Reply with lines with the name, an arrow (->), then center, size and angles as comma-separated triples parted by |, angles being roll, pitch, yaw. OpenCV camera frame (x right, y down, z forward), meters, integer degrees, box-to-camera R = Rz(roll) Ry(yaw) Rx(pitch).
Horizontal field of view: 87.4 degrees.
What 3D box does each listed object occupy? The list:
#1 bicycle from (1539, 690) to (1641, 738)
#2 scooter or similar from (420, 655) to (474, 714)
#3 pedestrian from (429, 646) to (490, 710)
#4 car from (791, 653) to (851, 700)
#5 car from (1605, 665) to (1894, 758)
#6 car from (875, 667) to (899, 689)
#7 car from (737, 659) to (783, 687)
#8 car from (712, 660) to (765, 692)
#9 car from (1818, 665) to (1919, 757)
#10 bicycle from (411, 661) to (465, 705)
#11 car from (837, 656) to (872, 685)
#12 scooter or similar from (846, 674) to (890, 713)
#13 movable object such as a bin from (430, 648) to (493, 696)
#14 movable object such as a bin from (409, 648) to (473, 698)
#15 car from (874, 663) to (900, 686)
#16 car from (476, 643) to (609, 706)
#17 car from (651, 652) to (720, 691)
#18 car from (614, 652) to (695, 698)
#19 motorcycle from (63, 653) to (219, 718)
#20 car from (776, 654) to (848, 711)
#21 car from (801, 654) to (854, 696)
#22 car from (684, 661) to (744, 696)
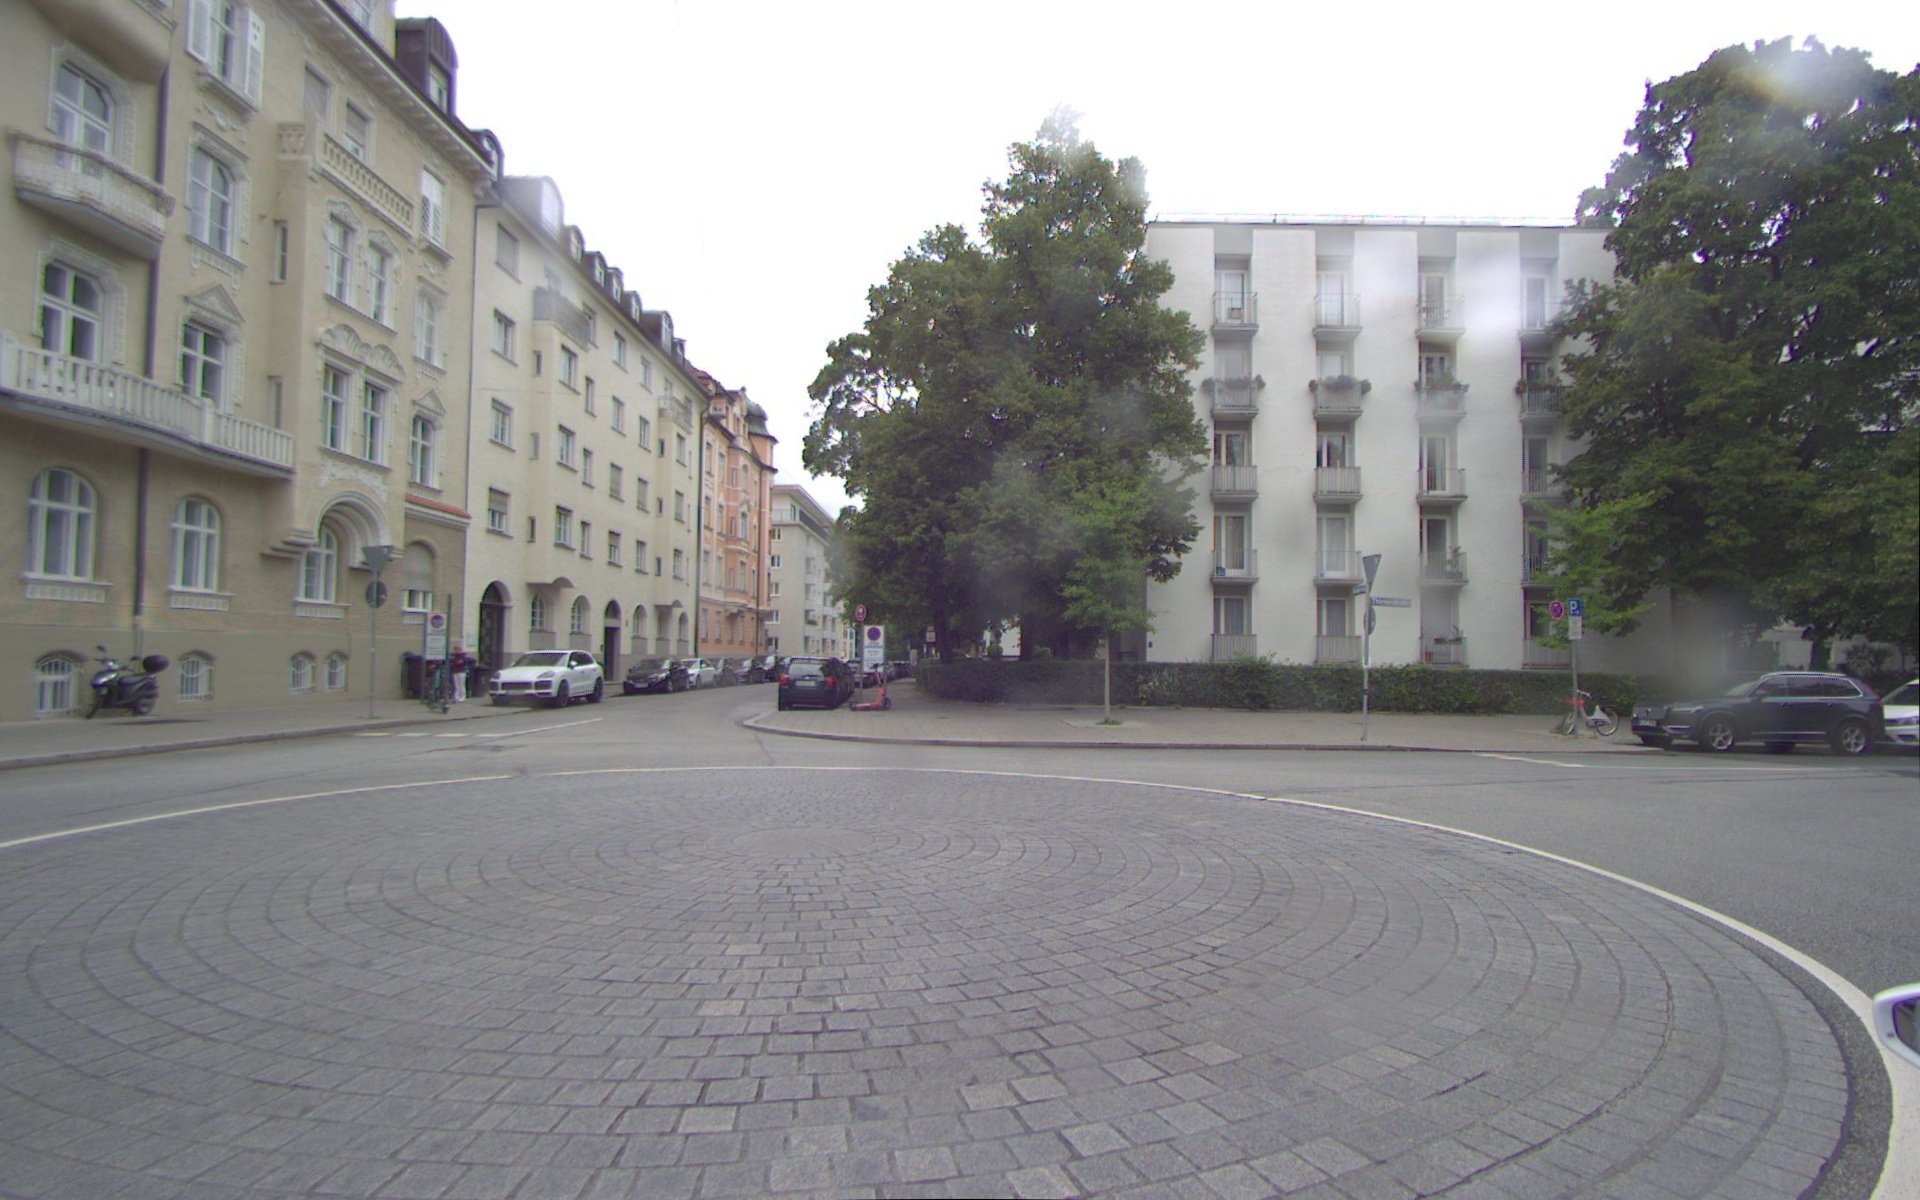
bicycle -> 15.257, 2.756, 24.353 | 1.933, 1.065, 0.914 | 2, -3, -3
scooter or similar -> -12.851, 2.094, 25.149 | 1.336, 1.413, 0.705 | -2, -4, 41
pedestrian -> -14.990, 2.327, 30.103 | 1.110, 1.828, 1.272 | 1, -3, 1
car -> -4.822, 2.653, 35.326 | 1.742, 1.538, 4.034 | 2, -3, -3
car -> 17.149, 2.398, 21.992 | 4.813, 1.790, 2.071 | 2, -3, -4
car -> -5.521, 5.886, 76.180 | 1.742, 1.538, 4.034 | 2, -3, -3
car -> -12.224, 4.440, 61.693 | 1.961, 1.616, 4.213 | 2, -3, 0
car -> -12.287, 4.208, 55.974 | 1.961, 1.616, 4.213 | 2, -3, 0
car -> 22.407, 2.499, 22.593 | 4.775, 1.919, 1.931 | 2, -3, -5
bicycle -> -14.481, 2.297, 27.920 | 0.540, 1.164, 1.846 | 1, -3, -1
car -> -5.921, 3.946, 56.588 | 1.742, 1.538, 4.034 | 2, -3, -3
scooter or similar -> -2.513, 2.546, 27.408 | 1.122, 1.038, 0.378 | 2, -3, -13
movable object such as a bin -> -16.090, 2.320, 32.467 | 1.318, 1.476, 1.297 | 1, -3, 1
movable object such as a bin -> -16.087, 2.261, 31.160 | 1.318, 1.476, 1.163 | 1, -3, 1
car -> -5.197, 5.269, 71.580 | 1.742, 1.538, 4.034 | 2, -3, -3
car -> -12.430, 2.205, 30.274 | 1.961, 1.713, 4.812 | 2, -3, 0
car -> -12.423, 3.219, 45.774 | 1.961, 1.616, 4.213 | 2, -3, 0
car -> -12.326, 3.018, 40.838 | 1.961, 1.713, 4.213 | 2, -3, 0
motorcycle -> -16.398, 1.694, 20.243 | 0.987, 1.195, 2.564 | 1, -3, 0
car -> -4.349, 2.421, 30.012 | 1.742, 1.538, 4.034 | 2, -3, -3
car -> -5.218, 2.967, 40.030 | 1.742, 1.538, 4.034 | 2, -3, -3
car -> -12.433, 3.940, 51.025 | 1.961, 1.616, 4.213 | 2, -3, 0
